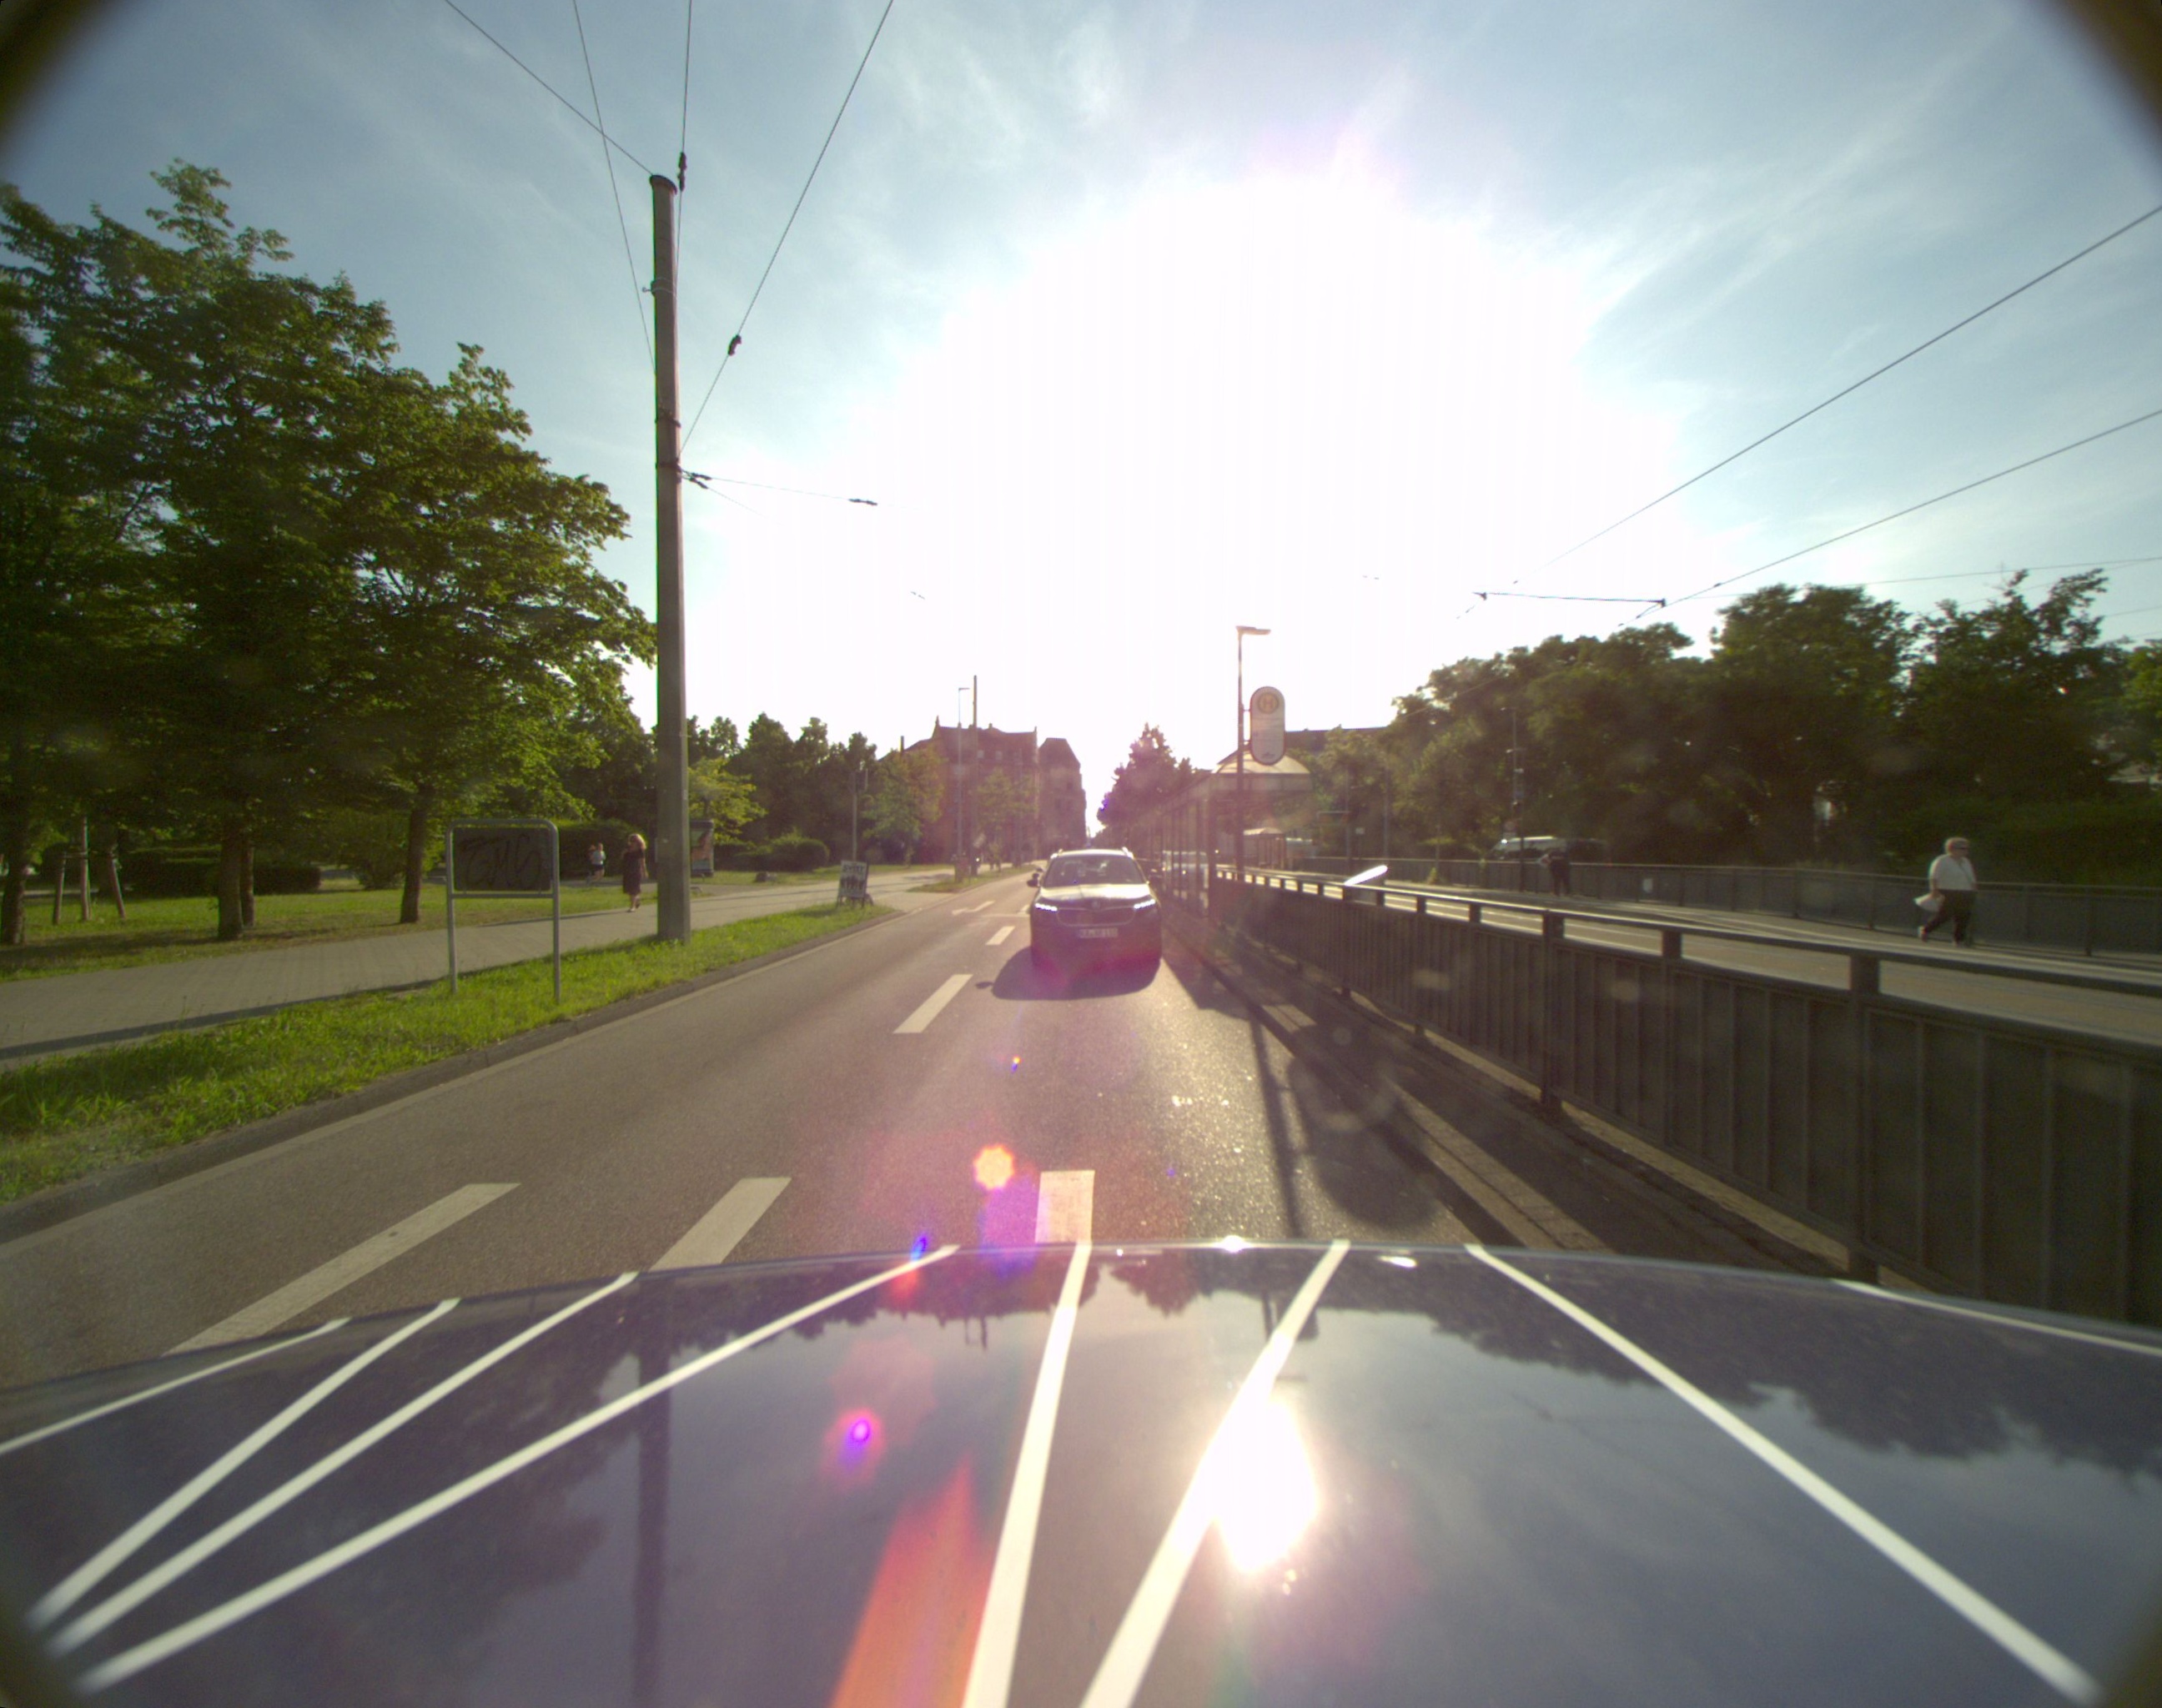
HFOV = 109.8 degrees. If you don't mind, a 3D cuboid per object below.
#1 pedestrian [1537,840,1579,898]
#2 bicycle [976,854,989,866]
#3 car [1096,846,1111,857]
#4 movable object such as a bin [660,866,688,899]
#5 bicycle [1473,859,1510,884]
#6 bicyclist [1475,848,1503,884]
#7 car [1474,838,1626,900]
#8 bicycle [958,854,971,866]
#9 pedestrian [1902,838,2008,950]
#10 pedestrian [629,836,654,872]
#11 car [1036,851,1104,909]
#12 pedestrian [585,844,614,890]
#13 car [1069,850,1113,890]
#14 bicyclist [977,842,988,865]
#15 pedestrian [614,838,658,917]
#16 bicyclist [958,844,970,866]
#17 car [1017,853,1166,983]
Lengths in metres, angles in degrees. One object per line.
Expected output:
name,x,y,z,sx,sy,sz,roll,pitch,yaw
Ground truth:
pedestrian,13.424,0.410,21.392,0.736,1.619,0.689,0,1,0
bicycle,-7.865,0.485,60.755,0.740,0.912,2.094,0,1,0
car,3.390,-0.413,113.039,1.999,1.674,3.999,0,1,-1
movable object such as a bin,-11.337,0.789,21.151,0.502,0.899,0.526,1,1,39
bicycle,19.012,0.792,35.245,0.727,1.103,1.865,-2,0,1
bicyclist,18.992,0.566,35.400,0.706,1.614,1.072,-3,1,1
car,16.532,0.446,27.219,2.150,2.002,5.386,0,1,1
bicycle,-9.338,0.481,60.720,0.740,0.912,2.094,0,1,-1
pedestrian,12.997,0.571,11.321,0.708,1.619,0.727,0,1,0
pedestrian,-26.312,-0.015,45.458,0.910,2.145,0.891,0,1,13
car,-0.264,0.678,21.945,1.781,1.496,3.999,0,1,0
pedestrian,-17.605,0.455,27.778,0.660,1.642,0.623,1,1,25
car,0.386,0.588,30.812,1.672,1.496,3.871,0,1,0
bicyclist,-7.860,-0.053,60.762,0.730,1.763,1.015,0,1,-1
pedestrian,-9.696,0.500,16.581,0.558,1.691,0.662,0,1,0
bicyclist,-9.311,0.096,60.614,0.754,1.763,1.118,0,1,-1
car,0.147,0.786,11.338,1.781,1.496,3.999,-2,1,0
